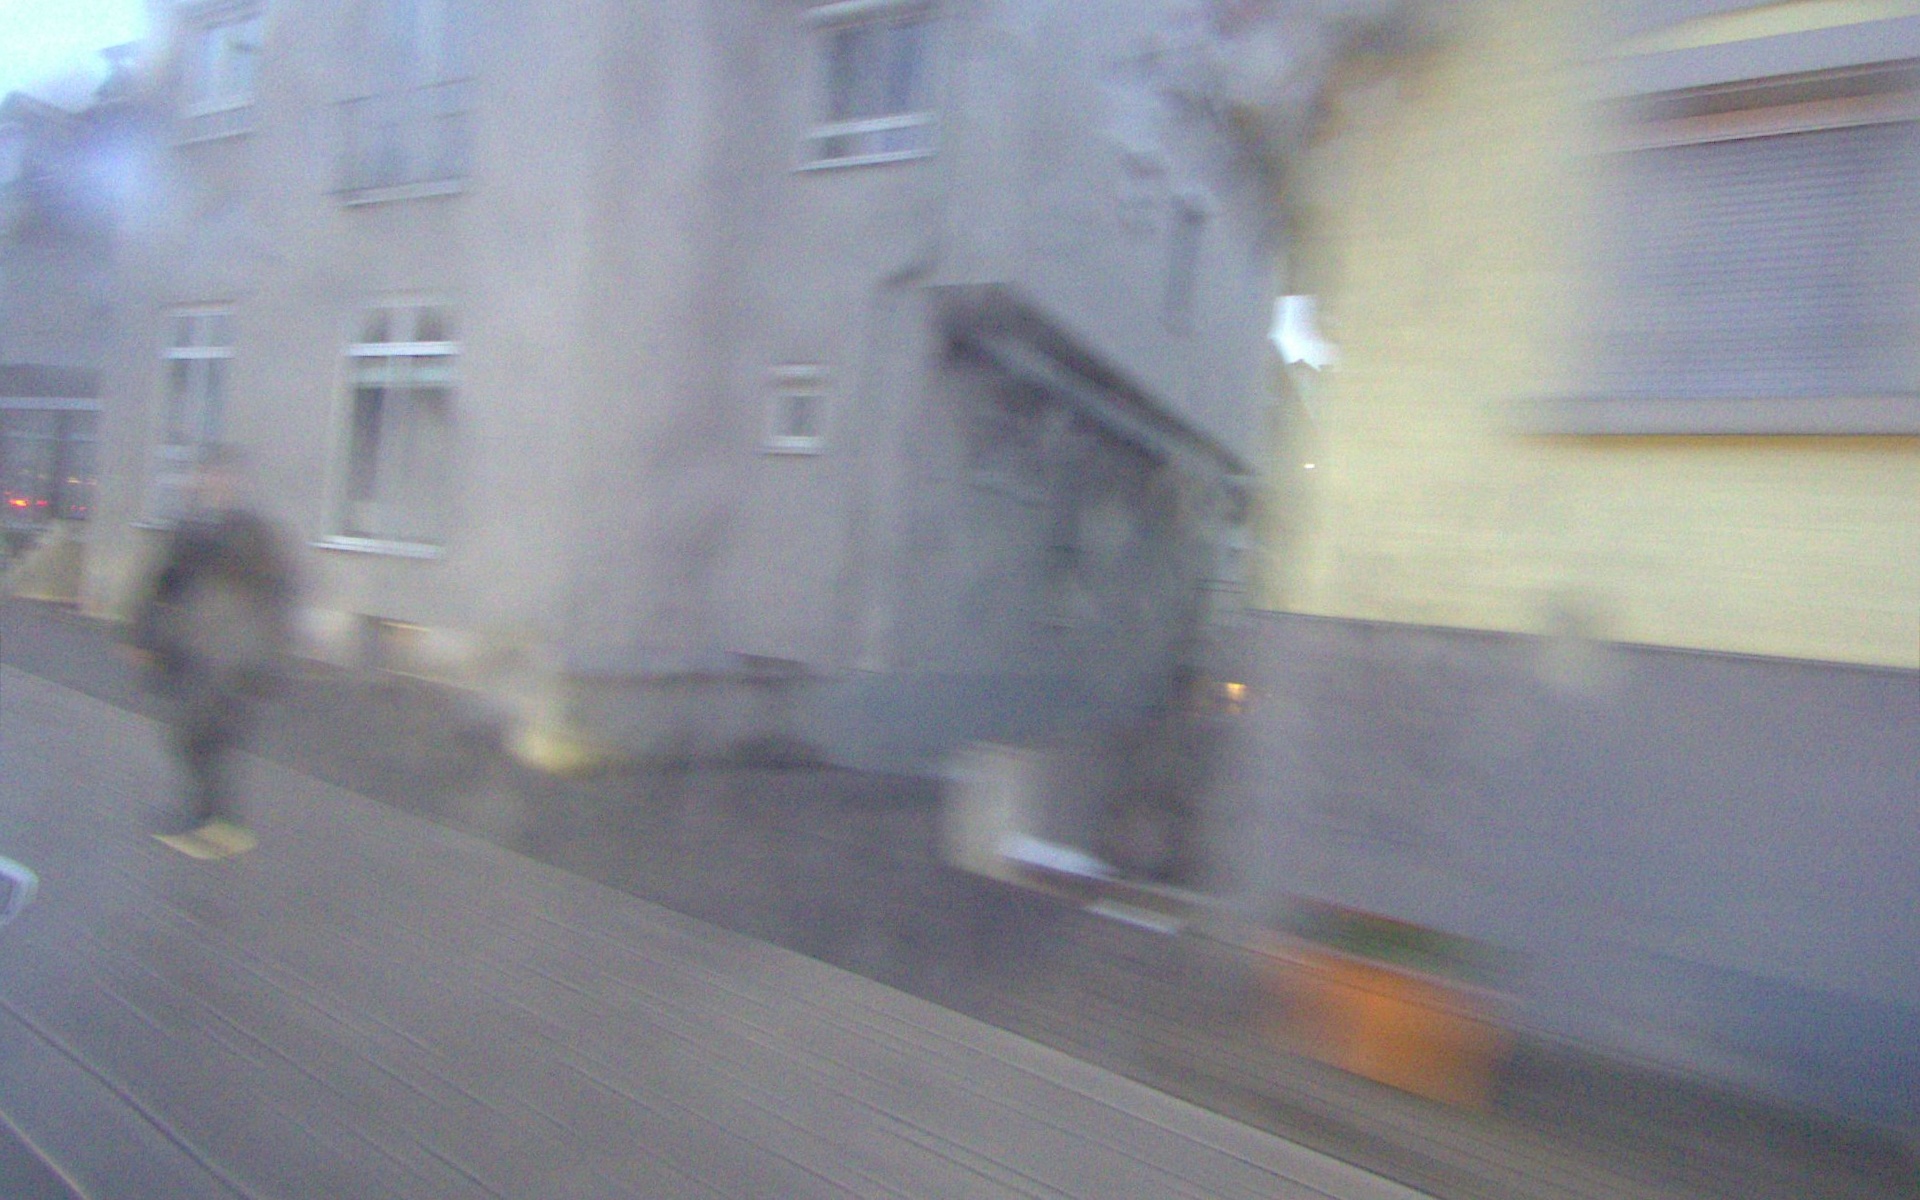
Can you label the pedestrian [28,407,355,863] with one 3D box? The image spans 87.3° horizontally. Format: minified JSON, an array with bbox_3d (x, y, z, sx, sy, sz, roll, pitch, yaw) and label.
[{"bbox_3d":[-3.348,0.123,4.395,0.858,1.751,0.746,8,1,33],"label":"pedestrian"}]
